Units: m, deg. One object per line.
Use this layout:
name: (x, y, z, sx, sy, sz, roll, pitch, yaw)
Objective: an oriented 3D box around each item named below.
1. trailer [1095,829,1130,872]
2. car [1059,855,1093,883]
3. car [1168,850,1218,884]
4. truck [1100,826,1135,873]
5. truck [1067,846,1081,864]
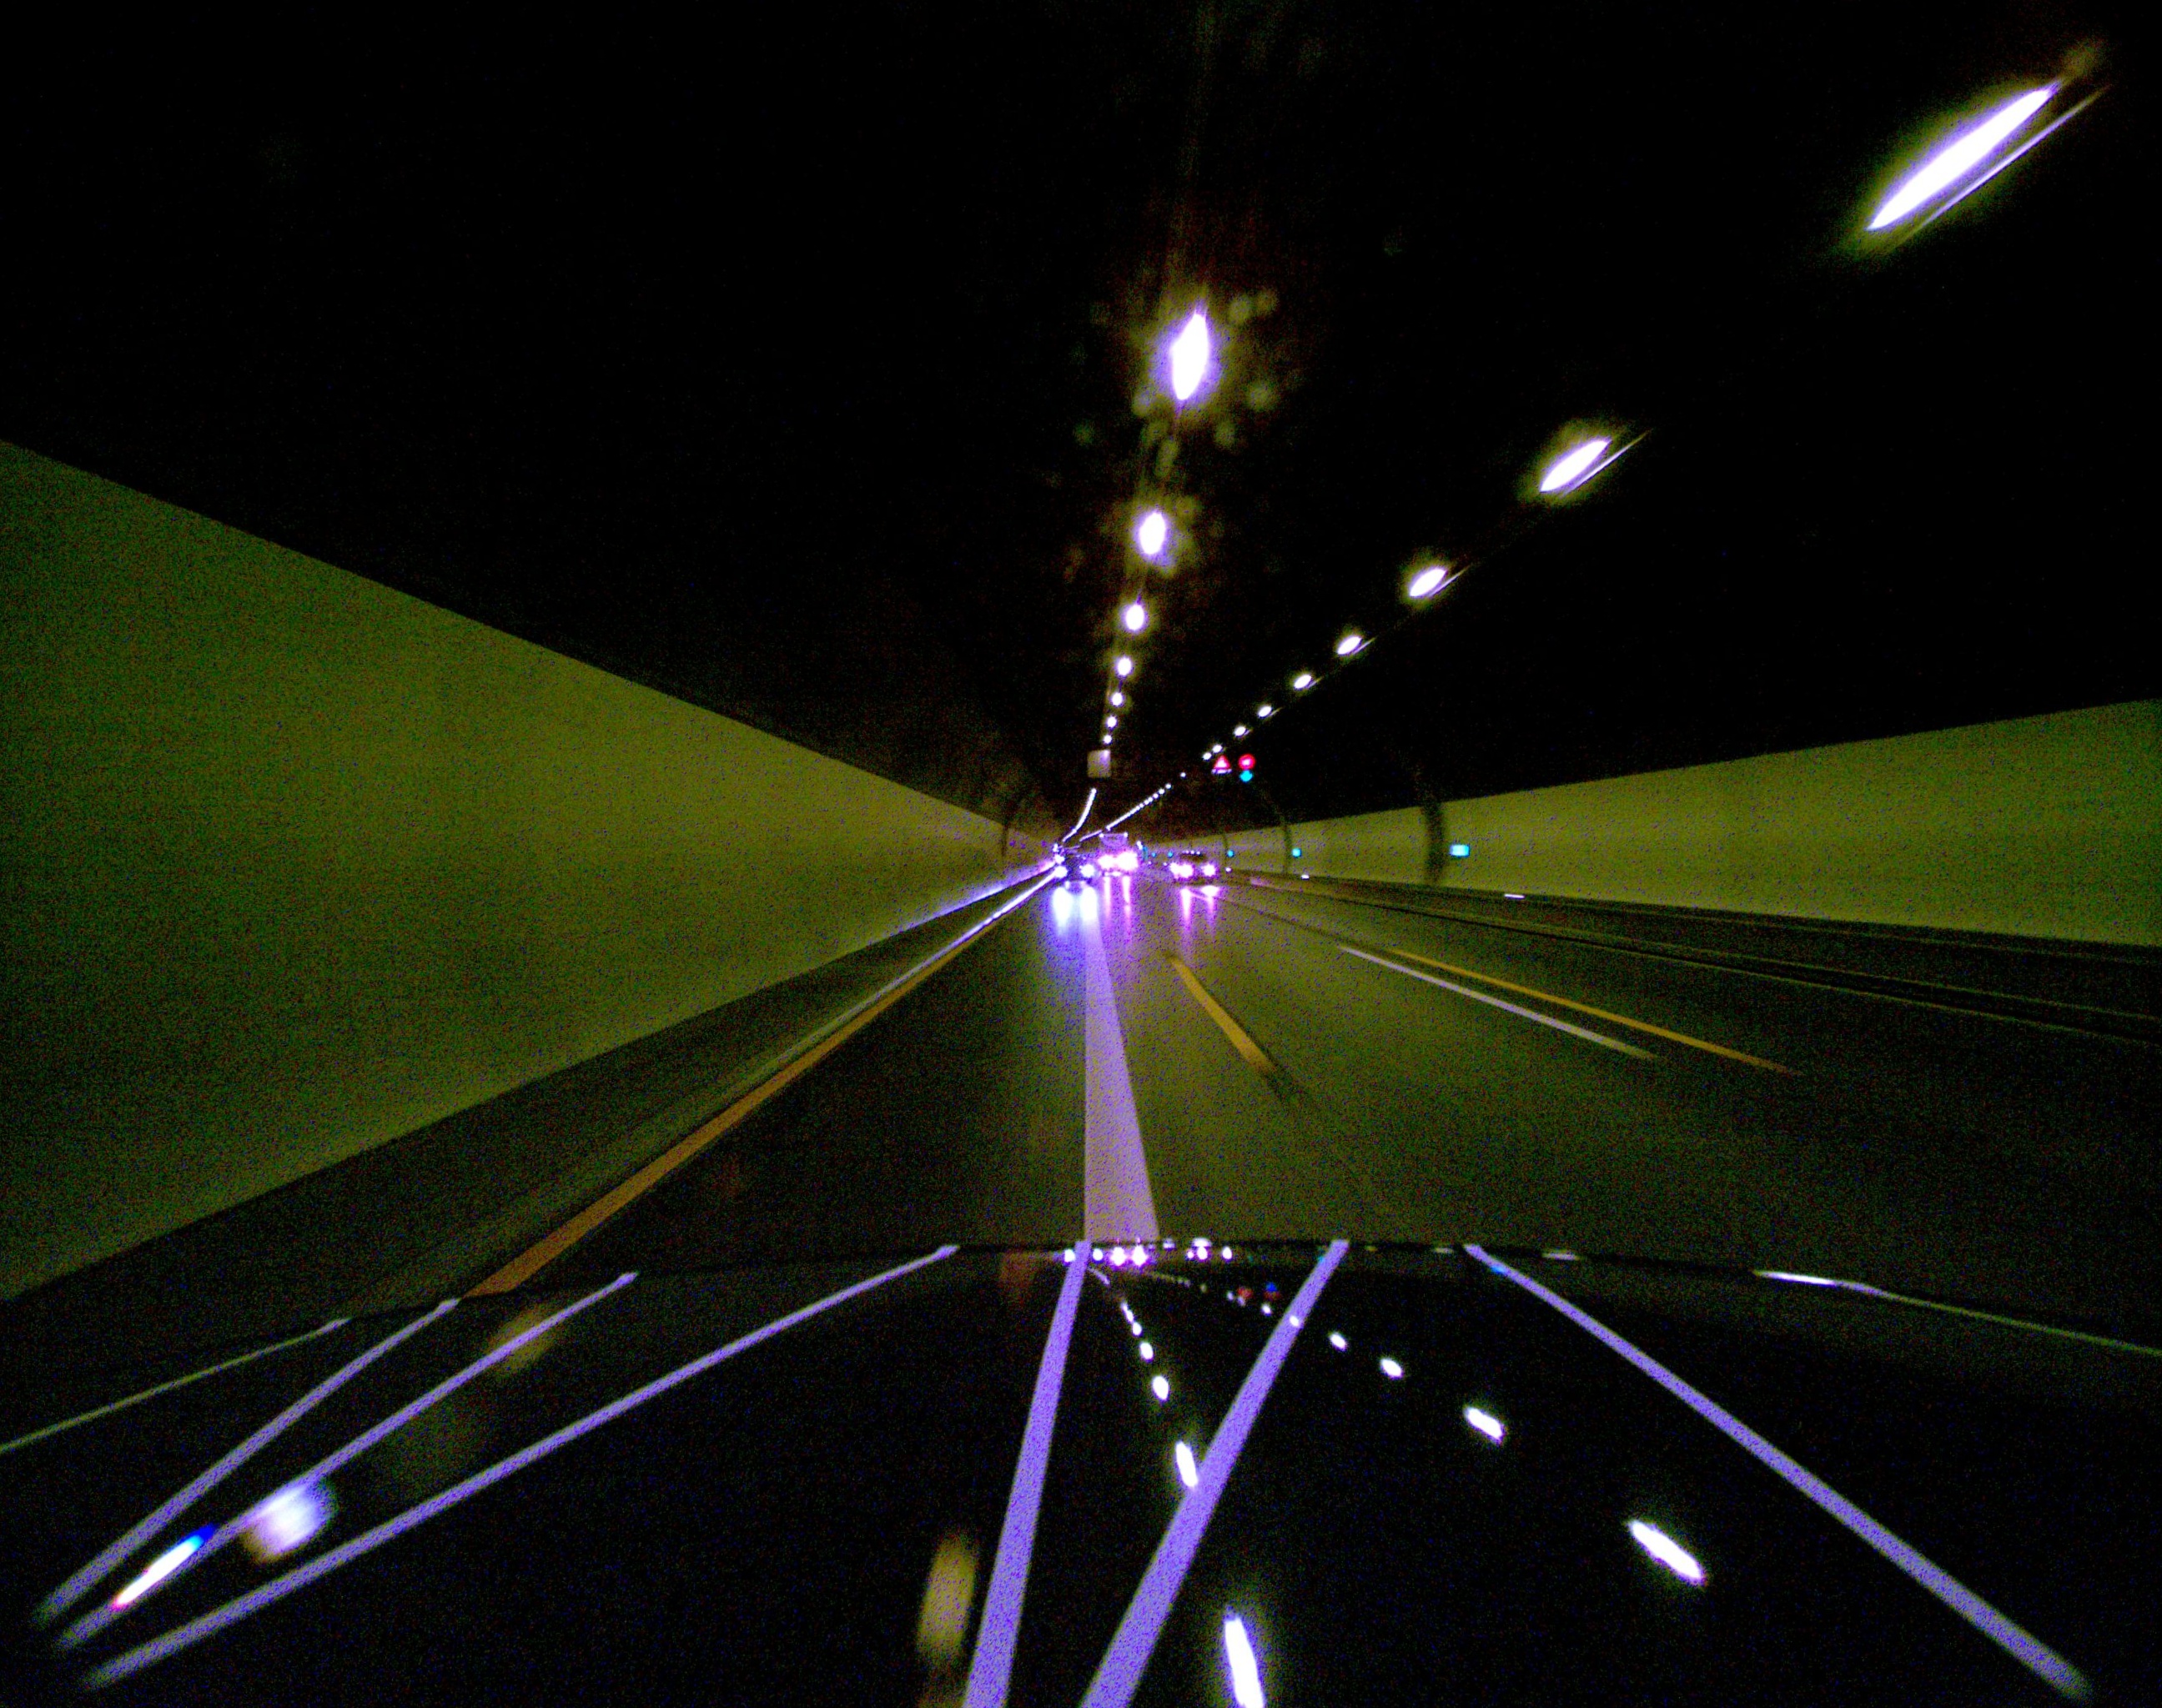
trailer: (2.569, -0.288, 65.158, 2.374, 3.328, 12.077, 0, 0, -1)
car: (-0.233, 0.792, 41.945, 1.728, 1.474, 4.000, -1, 0, 1)
car: (5.536, 0.600, 38.040, 1.767, 1.563, 4.096, -1, 1, -2)
truck: (2.745, -0.363, 58.582, 2.374, 3.328, 4.719, -3, 1, 1)
truck: (-1.240, 0.194, 125.333, 2.151, 2.609, 9.907, -1, -1, -1)
